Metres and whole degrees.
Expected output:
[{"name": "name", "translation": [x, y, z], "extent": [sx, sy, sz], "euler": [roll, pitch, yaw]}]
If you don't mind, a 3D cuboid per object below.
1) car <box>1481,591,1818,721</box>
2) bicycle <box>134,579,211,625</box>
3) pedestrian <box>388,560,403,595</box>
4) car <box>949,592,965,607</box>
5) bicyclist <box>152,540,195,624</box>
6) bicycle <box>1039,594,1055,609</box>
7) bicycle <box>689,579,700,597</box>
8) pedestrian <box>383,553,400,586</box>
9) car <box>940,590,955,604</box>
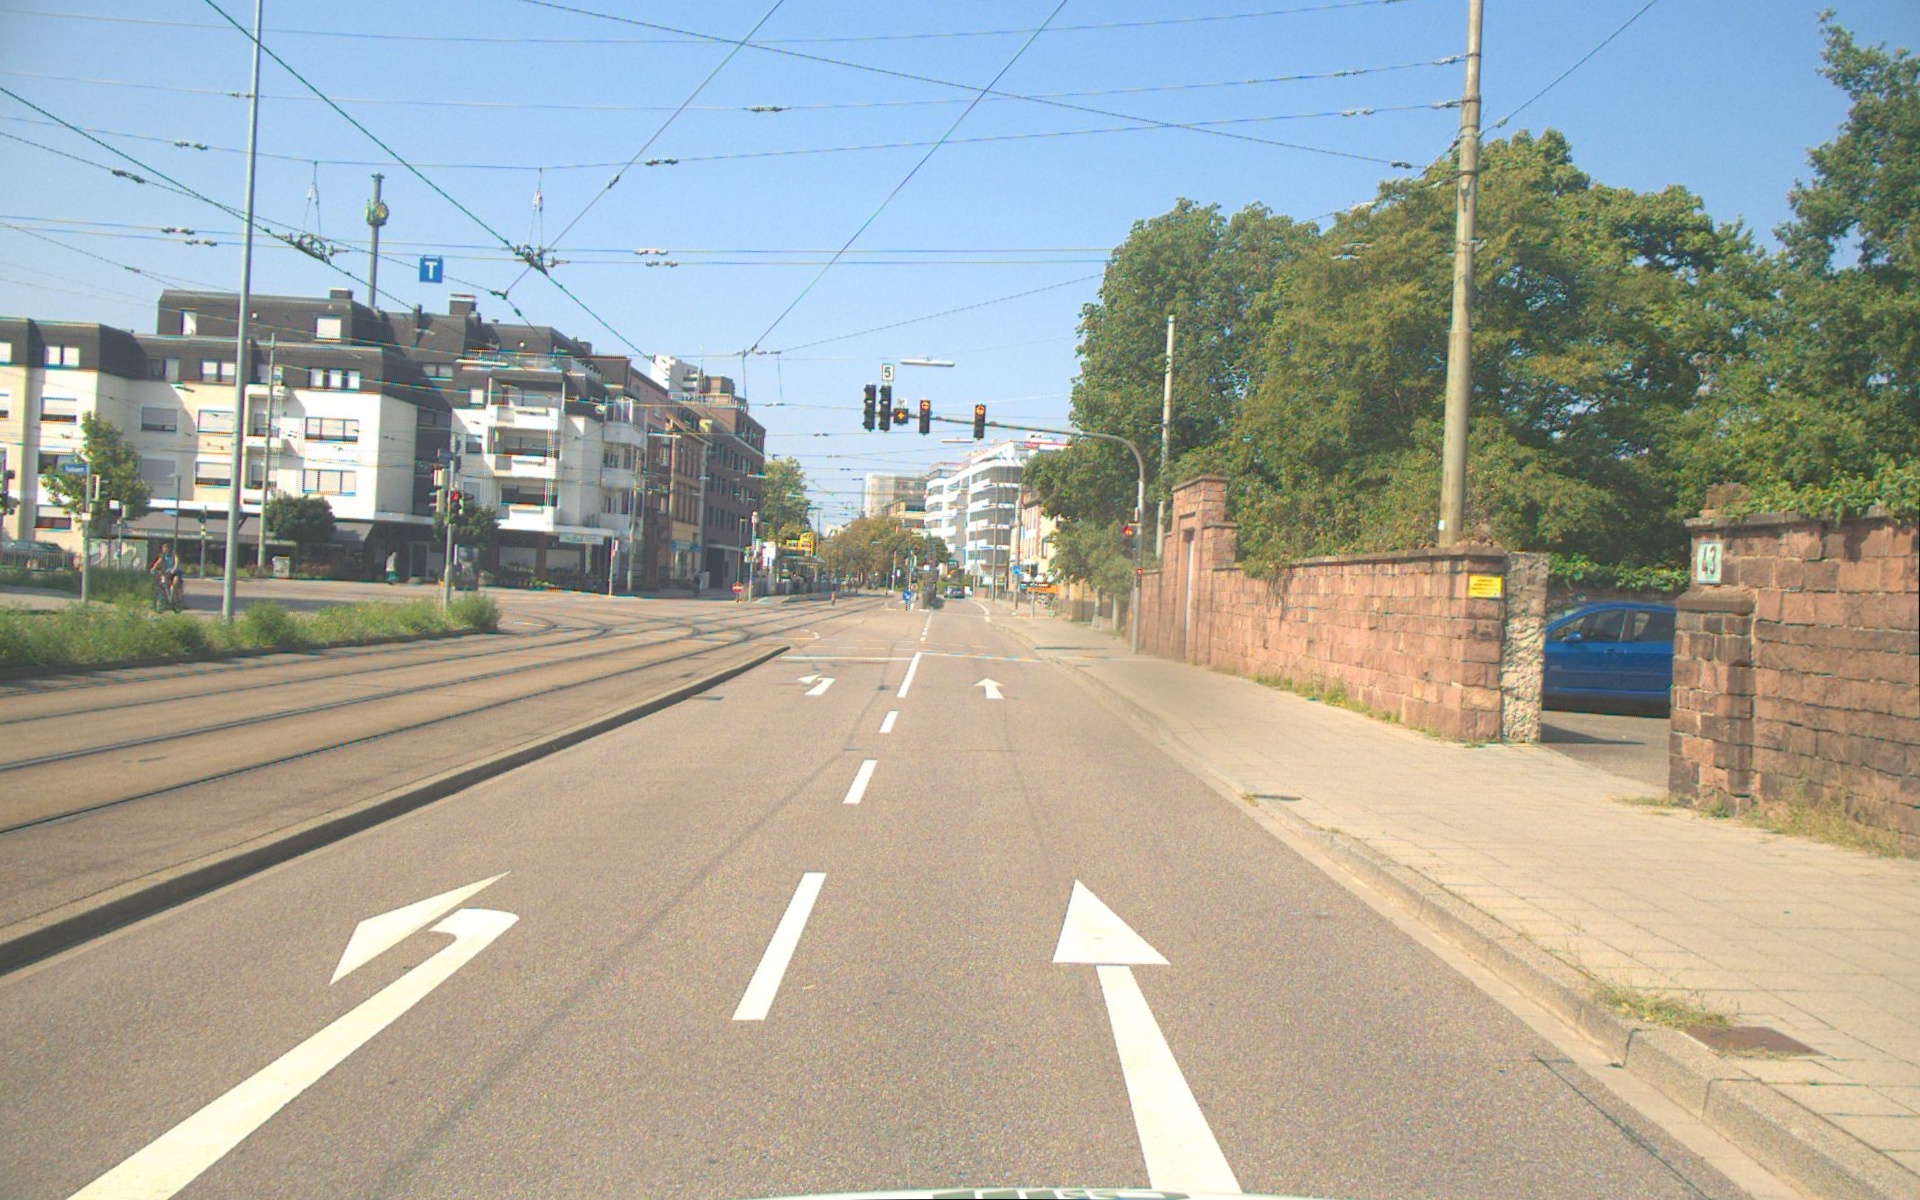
[{"name": "car", "translation": [9.512, 0.748, 23.034], "extent": [3.887, 1.489, 1.777], "euler": [3, 1, -2]}, {"name": "bicycle", "translation": [-19.882, 0.045, 41.810], "extent": [0.700, 1.110, 2.266], "euler": [1, 0, 4]}, {"name": "pedestrian", "translation": [-29.503, -1.177, 86.370], "extent": [0.593, 1.776, 0.559], "euler": [1, 0, -34]}, {"name": "car", "translation": [-0.355, -0.084, 218.391], "extent": [1.970, 1.891, 4.000], "euler": [1, 0, 1]}, {"name": "bicyclist", "translation": [-19.882, -0.449, 41.819], "extent": [0.624, 2.100, 0.775], "euler": [1, 0, 4]}, {"name": "bicycle", "translation": [6.792, 0.112, 128.972], "extent": [0.717, 1.152, 2.835], "euler": [-1, 0, -7]}, {"name": "bicycle", "translation": [-18.039, -0.789, 112.311], "extent": [0.564, 1.200, 2.206], "euler": [1, 1, -4]}, {"name": "pedestrian", "translation": [-31.117, -1.651, 90.529], "extent": [0.665, 1.771, 0.698], "euler": [1, 0, 1]}, {"name": "car", "translation": [-1.682, -0.397, 224.433], "extent": [1.970, 1.891, 4.000], "euler": [1, 0, 1]}]
